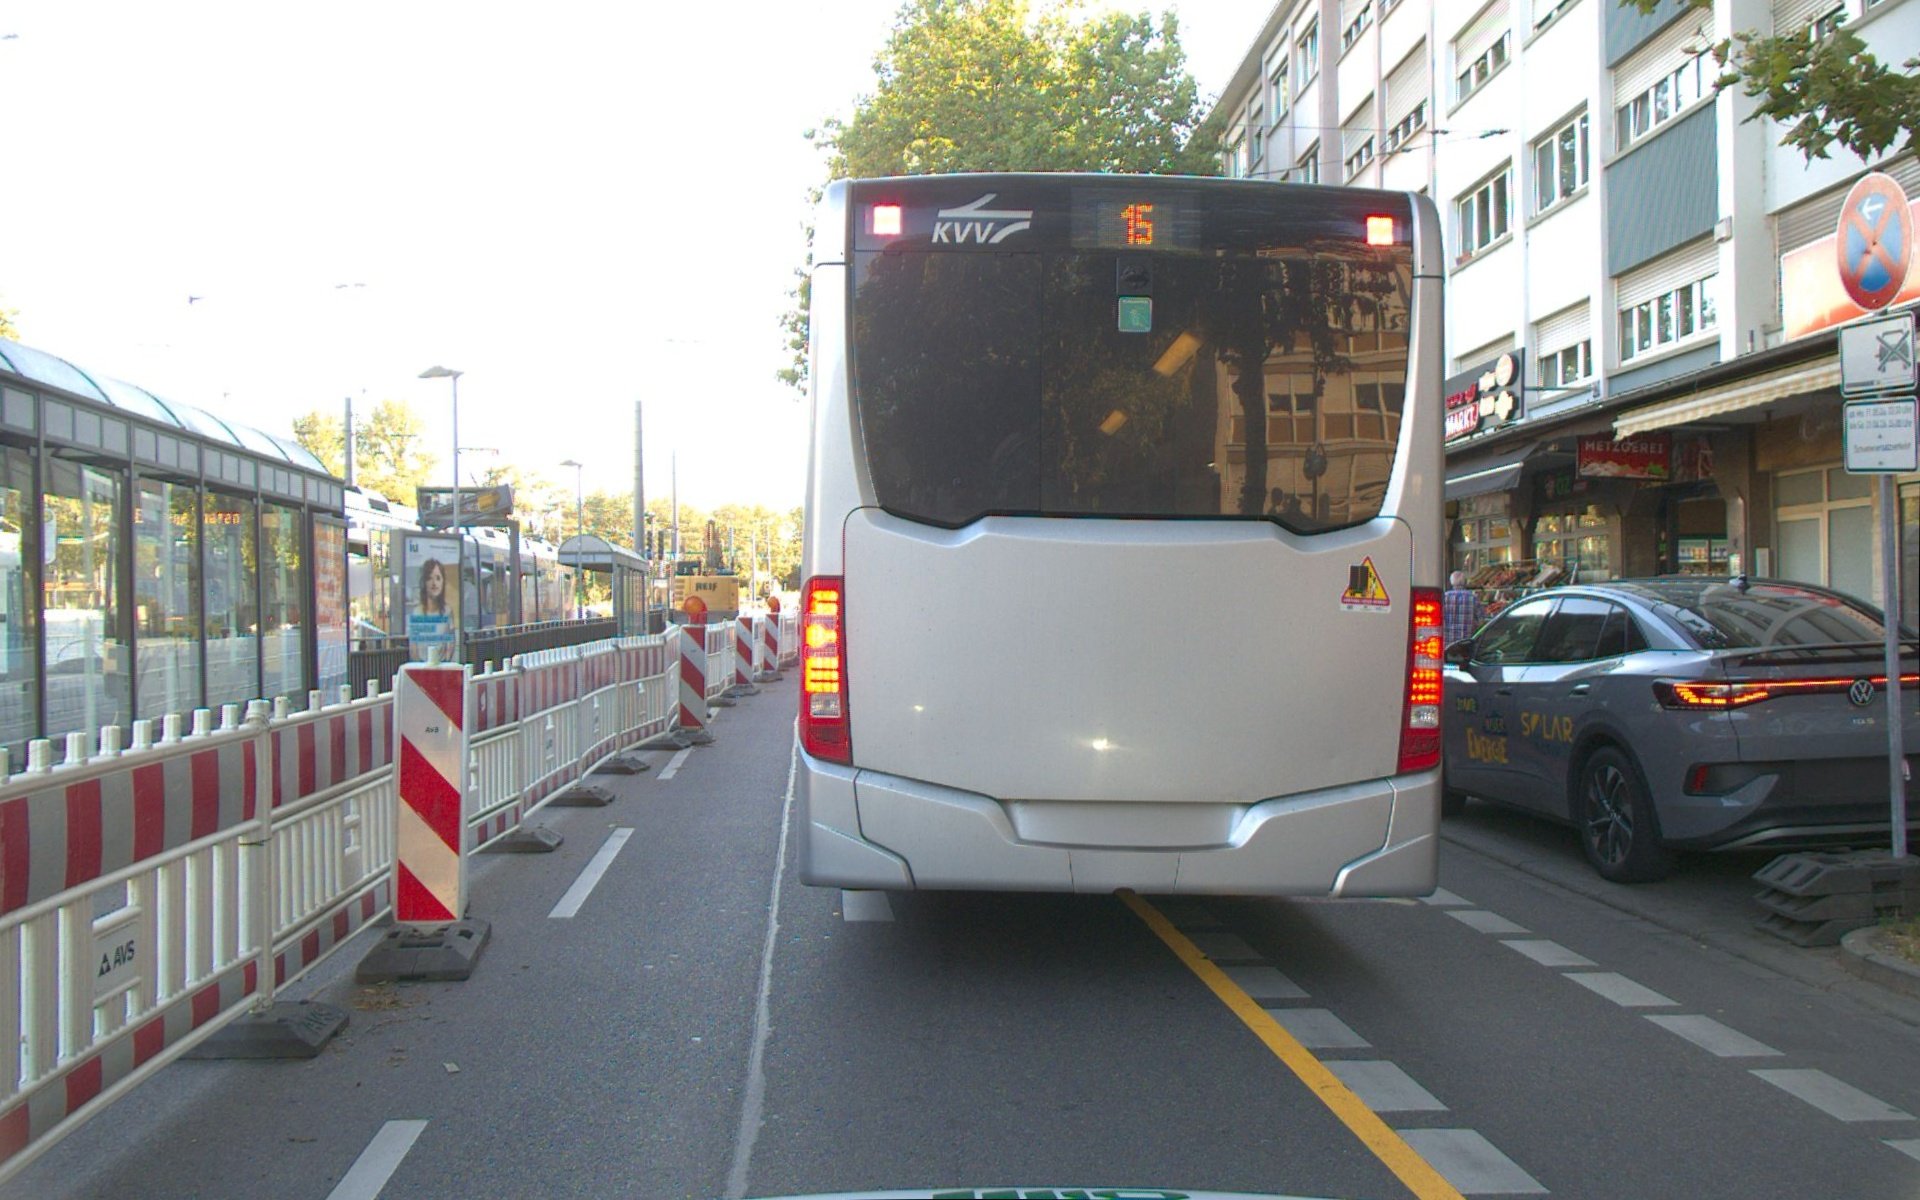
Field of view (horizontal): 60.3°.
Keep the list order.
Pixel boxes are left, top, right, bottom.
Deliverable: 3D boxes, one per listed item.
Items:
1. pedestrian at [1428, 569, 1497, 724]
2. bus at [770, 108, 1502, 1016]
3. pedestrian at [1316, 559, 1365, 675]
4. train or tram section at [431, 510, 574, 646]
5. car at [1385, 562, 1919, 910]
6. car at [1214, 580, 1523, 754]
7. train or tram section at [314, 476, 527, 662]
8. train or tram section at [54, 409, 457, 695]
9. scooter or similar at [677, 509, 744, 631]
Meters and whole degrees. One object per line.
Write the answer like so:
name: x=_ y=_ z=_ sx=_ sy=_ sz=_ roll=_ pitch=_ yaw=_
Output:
pedestrian: x=5.632 y=0.517 z=18.561 sx=0.649 sy=1.696 sz=0.601 roll=-2 pitch=-1 yaw=15
bus: x=0.579 y=-0.122 z=9.894 sx=2.558 sy=3.181 sz=7.991 roll=1 pitch=0 yaw=-1
pedestrian: x=6.854 y=0.296 z=29.783 sx=0.672 sy=2.049 sz=0.786 roll=-1 pitch=0 yaw=-1
train or tram section: x=-13.592 y=-0.577 z=50.065 sx=2.636 sy=3.594 sz=11.559 roll=1 pitch=0 yaw=-8
car: x=4.365 y=0.628 z=10.219 sx=1.955 sy=1.609 sz=4.363 roll=-3 pitch=1 yaw=-5
car: x=4.340 y=0.635 z=18.367 sx=1.955 sy=1.609 sz=4.363 roll=-3 pitch=1 yaw=-5
train or tram section: x=-12.185 y=-0.590 z=38.527 sx=2.636 sy=3.621 sz=11.560 roll=1 pitch=0 yaw=-8
train or tram section: x=-10.761 y=-0.586 z=26.982 sx=2.635 sy=3.595 sz=11.755 roll=1 pitch=0 yaw=-6
scooter or similar: x=-9.721 y=-1.117 z=64.642 sx=2.422 sy=4.549 sz=5.962 roll=0 pitch=0 yaw=-8
